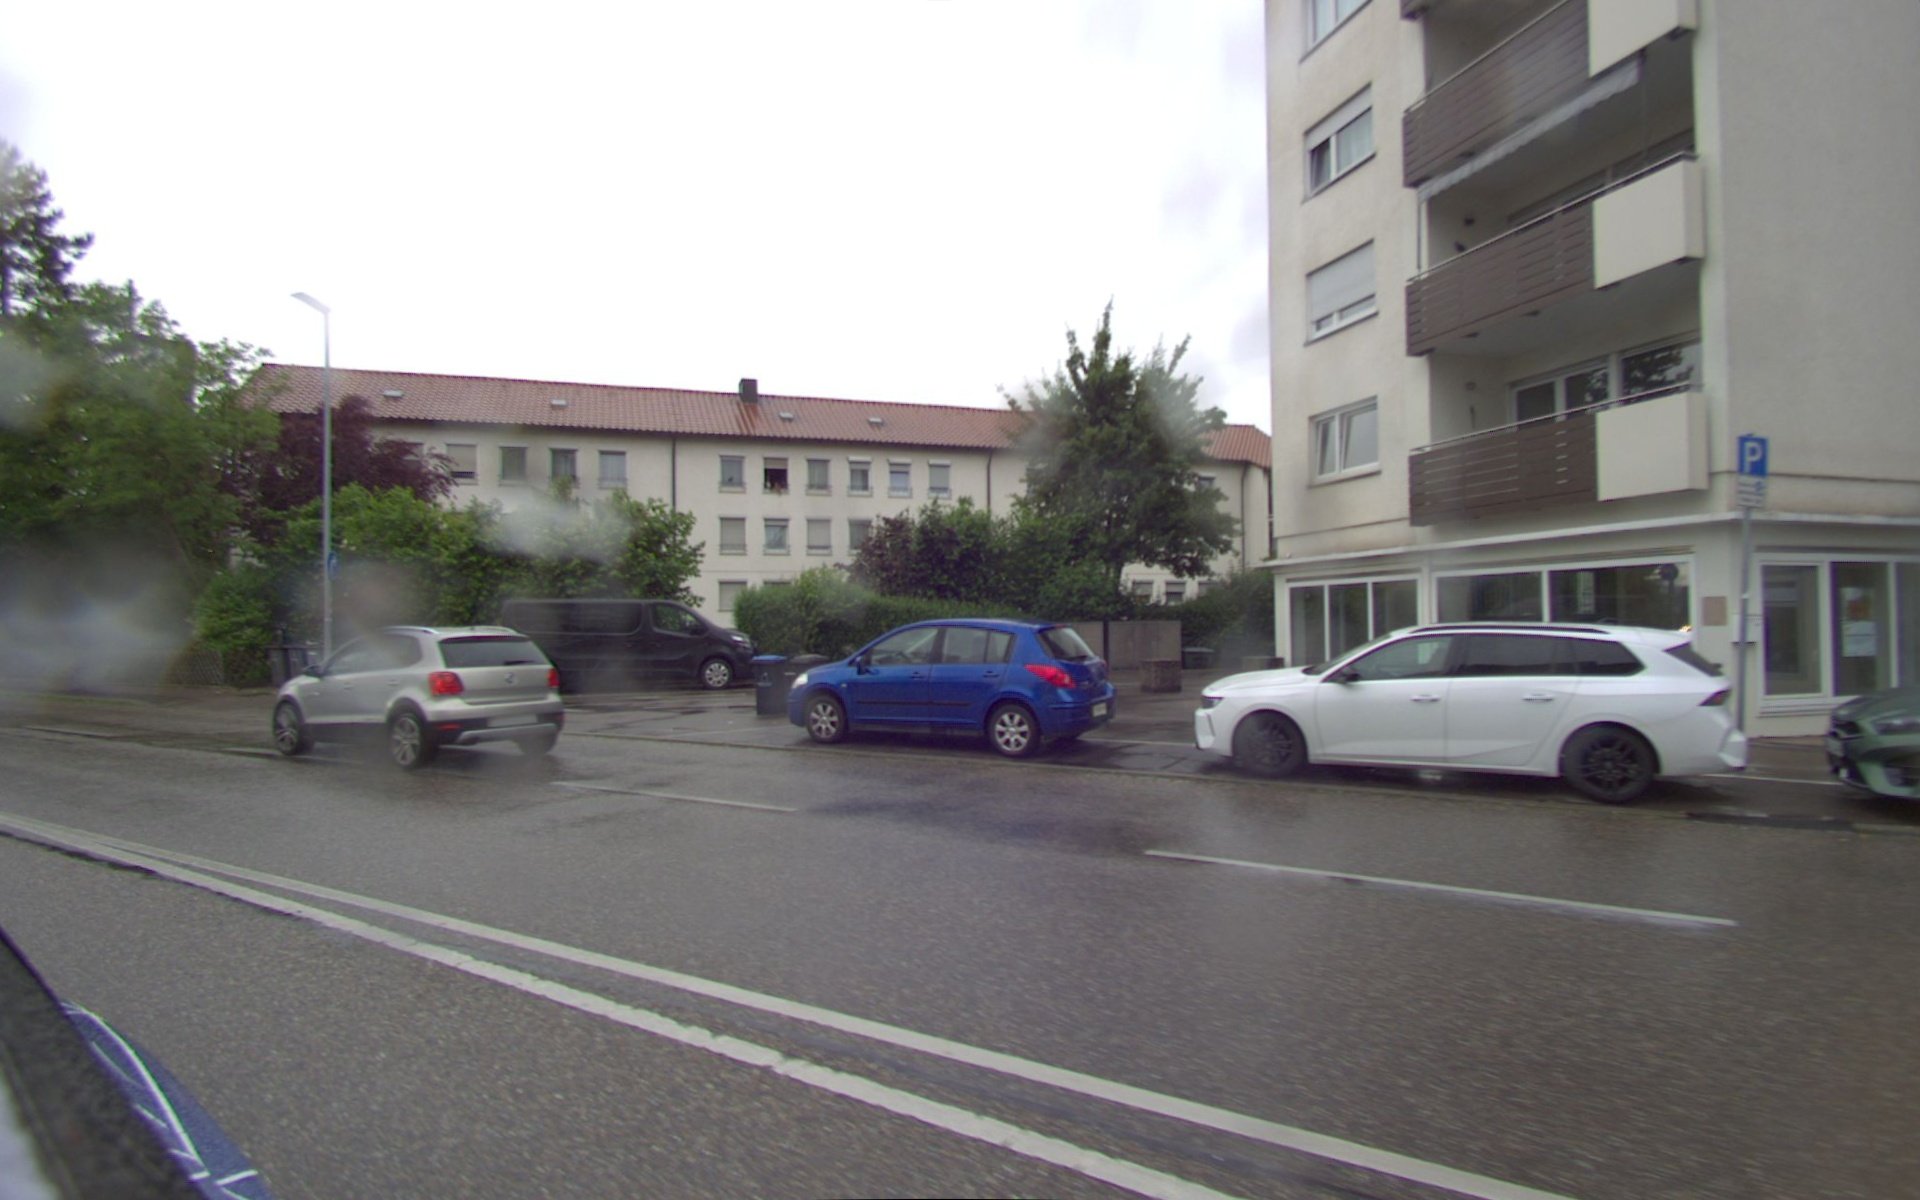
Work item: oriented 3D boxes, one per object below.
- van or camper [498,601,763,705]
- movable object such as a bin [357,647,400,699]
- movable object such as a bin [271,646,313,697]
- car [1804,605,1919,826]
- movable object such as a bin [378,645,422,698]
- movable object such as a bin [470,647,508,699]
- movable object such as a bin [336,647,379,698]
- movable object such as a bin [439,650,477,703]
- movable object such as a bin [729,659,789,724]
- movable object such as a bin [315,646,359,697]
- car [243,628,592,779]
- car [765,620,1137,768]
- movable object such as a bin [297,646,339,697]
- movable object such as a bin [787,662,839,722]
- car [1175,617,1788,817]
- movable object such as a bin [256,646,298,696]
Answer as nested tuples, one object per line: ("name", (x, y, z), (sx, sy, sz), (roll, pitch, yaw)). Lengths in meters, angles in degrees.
("van or camper", (-6.941, 1.098, 21.726), (5.130, 1.939, 2.005), (-2, -3, -15))
("movable object such as a bin", (-12.976, 1.613, 22.593), (0.596, 1.127, 0.598), (-1, -2, 17))
("movable object such as a bin", (-15.378, 1.639, 23.315), (0.598, 1.127, 0.596), (-1, -2, 27))
("car", (8.944, 0.767, 6.948), (4.503, 1.553, 1.921), (-2, -2, 30))
("movable object such as a bin", (-12.397, 1.573, 22.405), (0.596, 1.127, 0.598), (-1, -2, 17))
("movable object such as a bin", (-10.531, 1.630, 22.639), (0.592, 1.127, 0.602), (0, -2, -7))
("movable object such as a bin", (-13.566, 1.622, 22.796), (0.596, 1.127, 0.598), (-1, -2, 17))
("movable object such as a bin", (-11.137, 1.687, 22.465), (0.592, 1.127, 0.602), (0, -2, -7))
("movable object such as a bin", (-3.162, 1.423, 15.923), (0.680, 0.973, 0.643), (-2, -2, 30))
("movable object such as a bin", (-14.147, 1.621, 22.999), (0.596, 1.127, 0.598), (-1, -2, 17))
("car", (-6.228, 1.120, 11.574), (3.826, 1.450, 1.811), (-3, -4, 31))
("car", (-0.182, 1.053, 12.346), (4.306, 1.532, 1.640), (-2, -2, 30))
("movable object such as a bin", (-14.729, 1.639, 23.206), (0.598, 1.127, 0.596), (-2, -2, 27))
("movable object such as a bin", (-2.344, 1.446, 16.110), (0.595, 0.910, 0.570), (-2, -2, 30))
("car", (4.542, 0.946, 9.454), (4.665, 1.475, 1.681), (-2, -2, 30))
("movable object such as a bin", (-15.926, 1.637, 23.605), (0.598, 1.127, 0.596), (-1, -2, 27))
